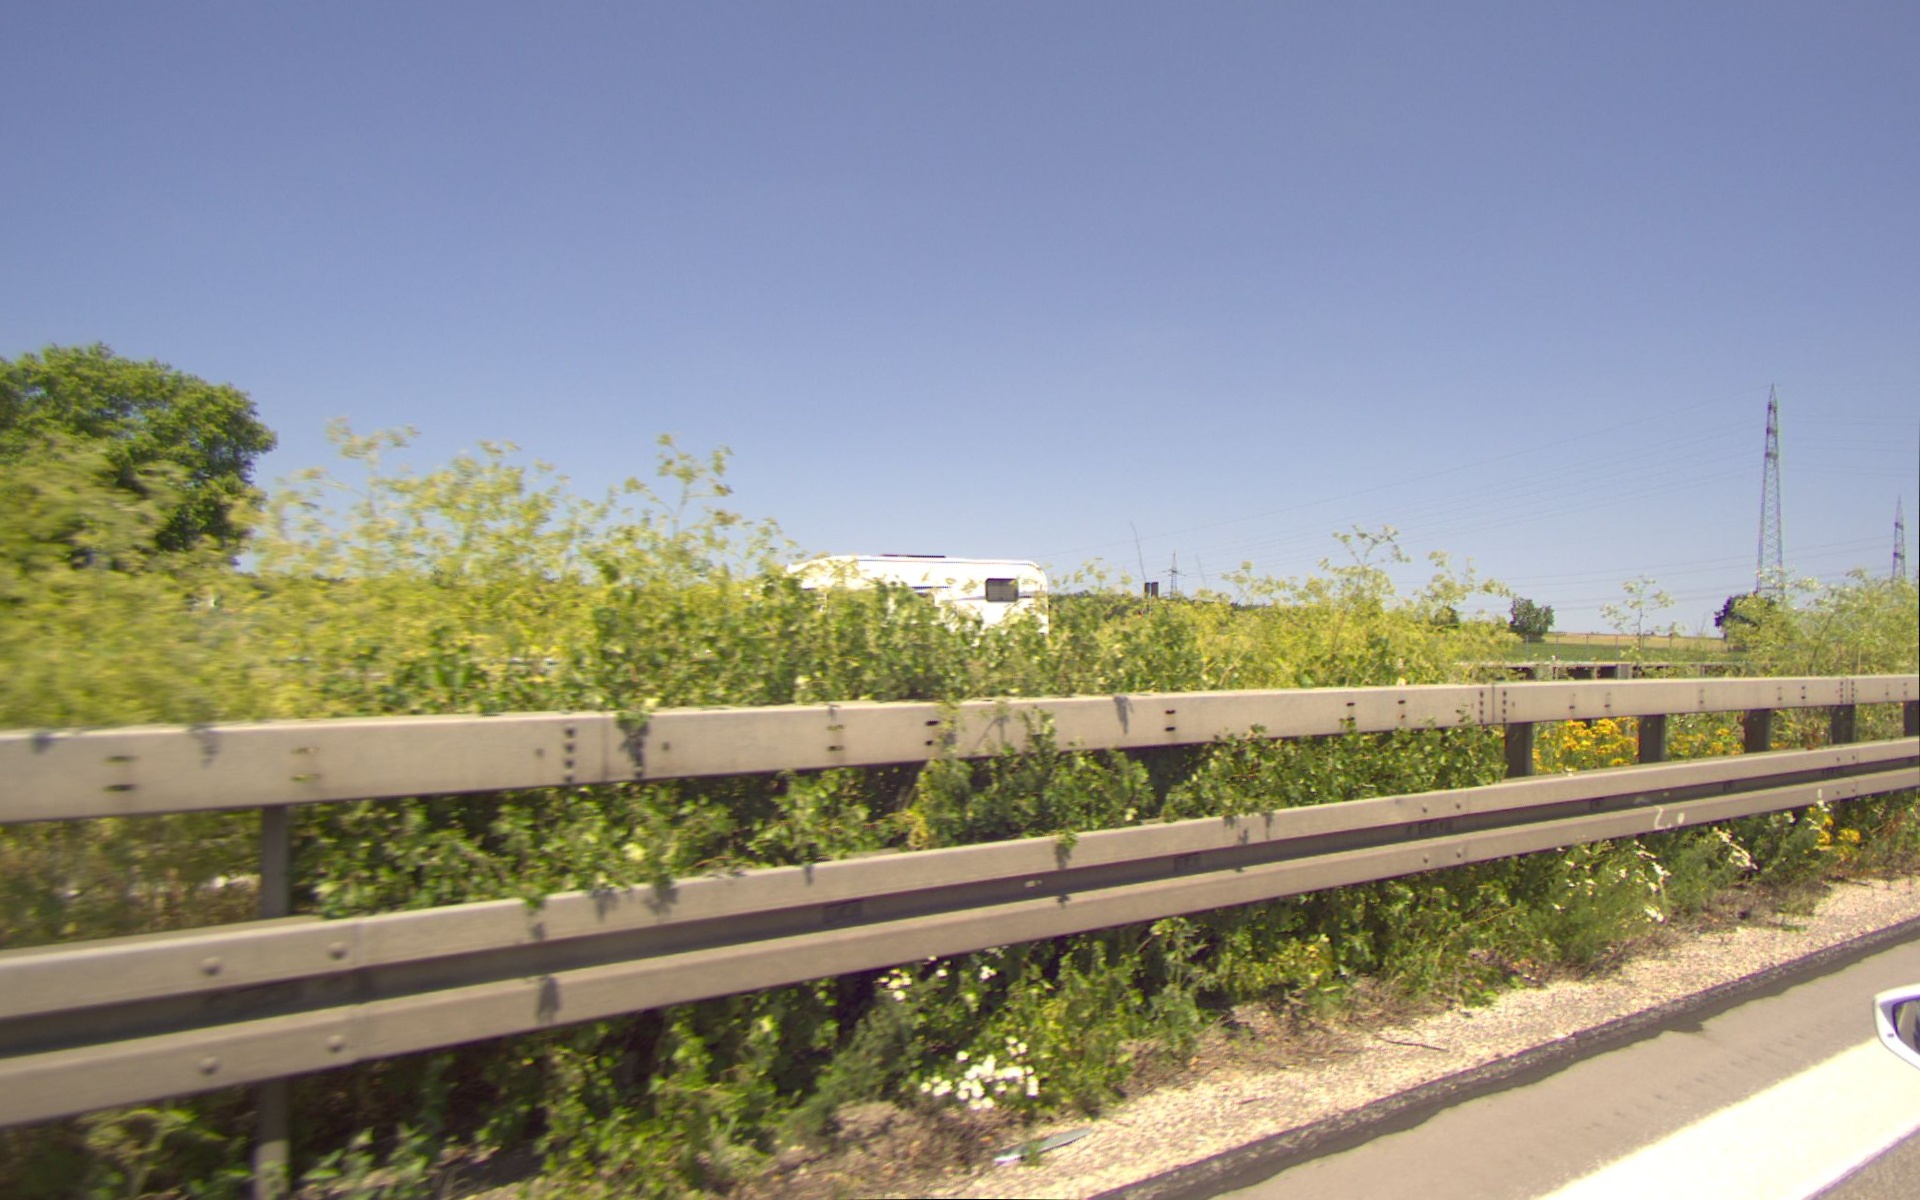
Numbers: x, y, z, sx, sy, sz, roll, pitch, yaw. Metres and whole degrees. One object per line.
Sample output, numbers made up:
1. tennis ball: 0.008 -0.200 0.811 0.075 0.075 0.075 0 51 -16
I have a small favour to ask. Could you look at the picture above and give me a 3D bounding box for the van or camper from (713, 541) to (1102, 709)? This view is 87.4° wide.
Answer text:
1. van or camper: -0.836 0.449 18.163 6.632 2.569 2.523 1 -1 -31
